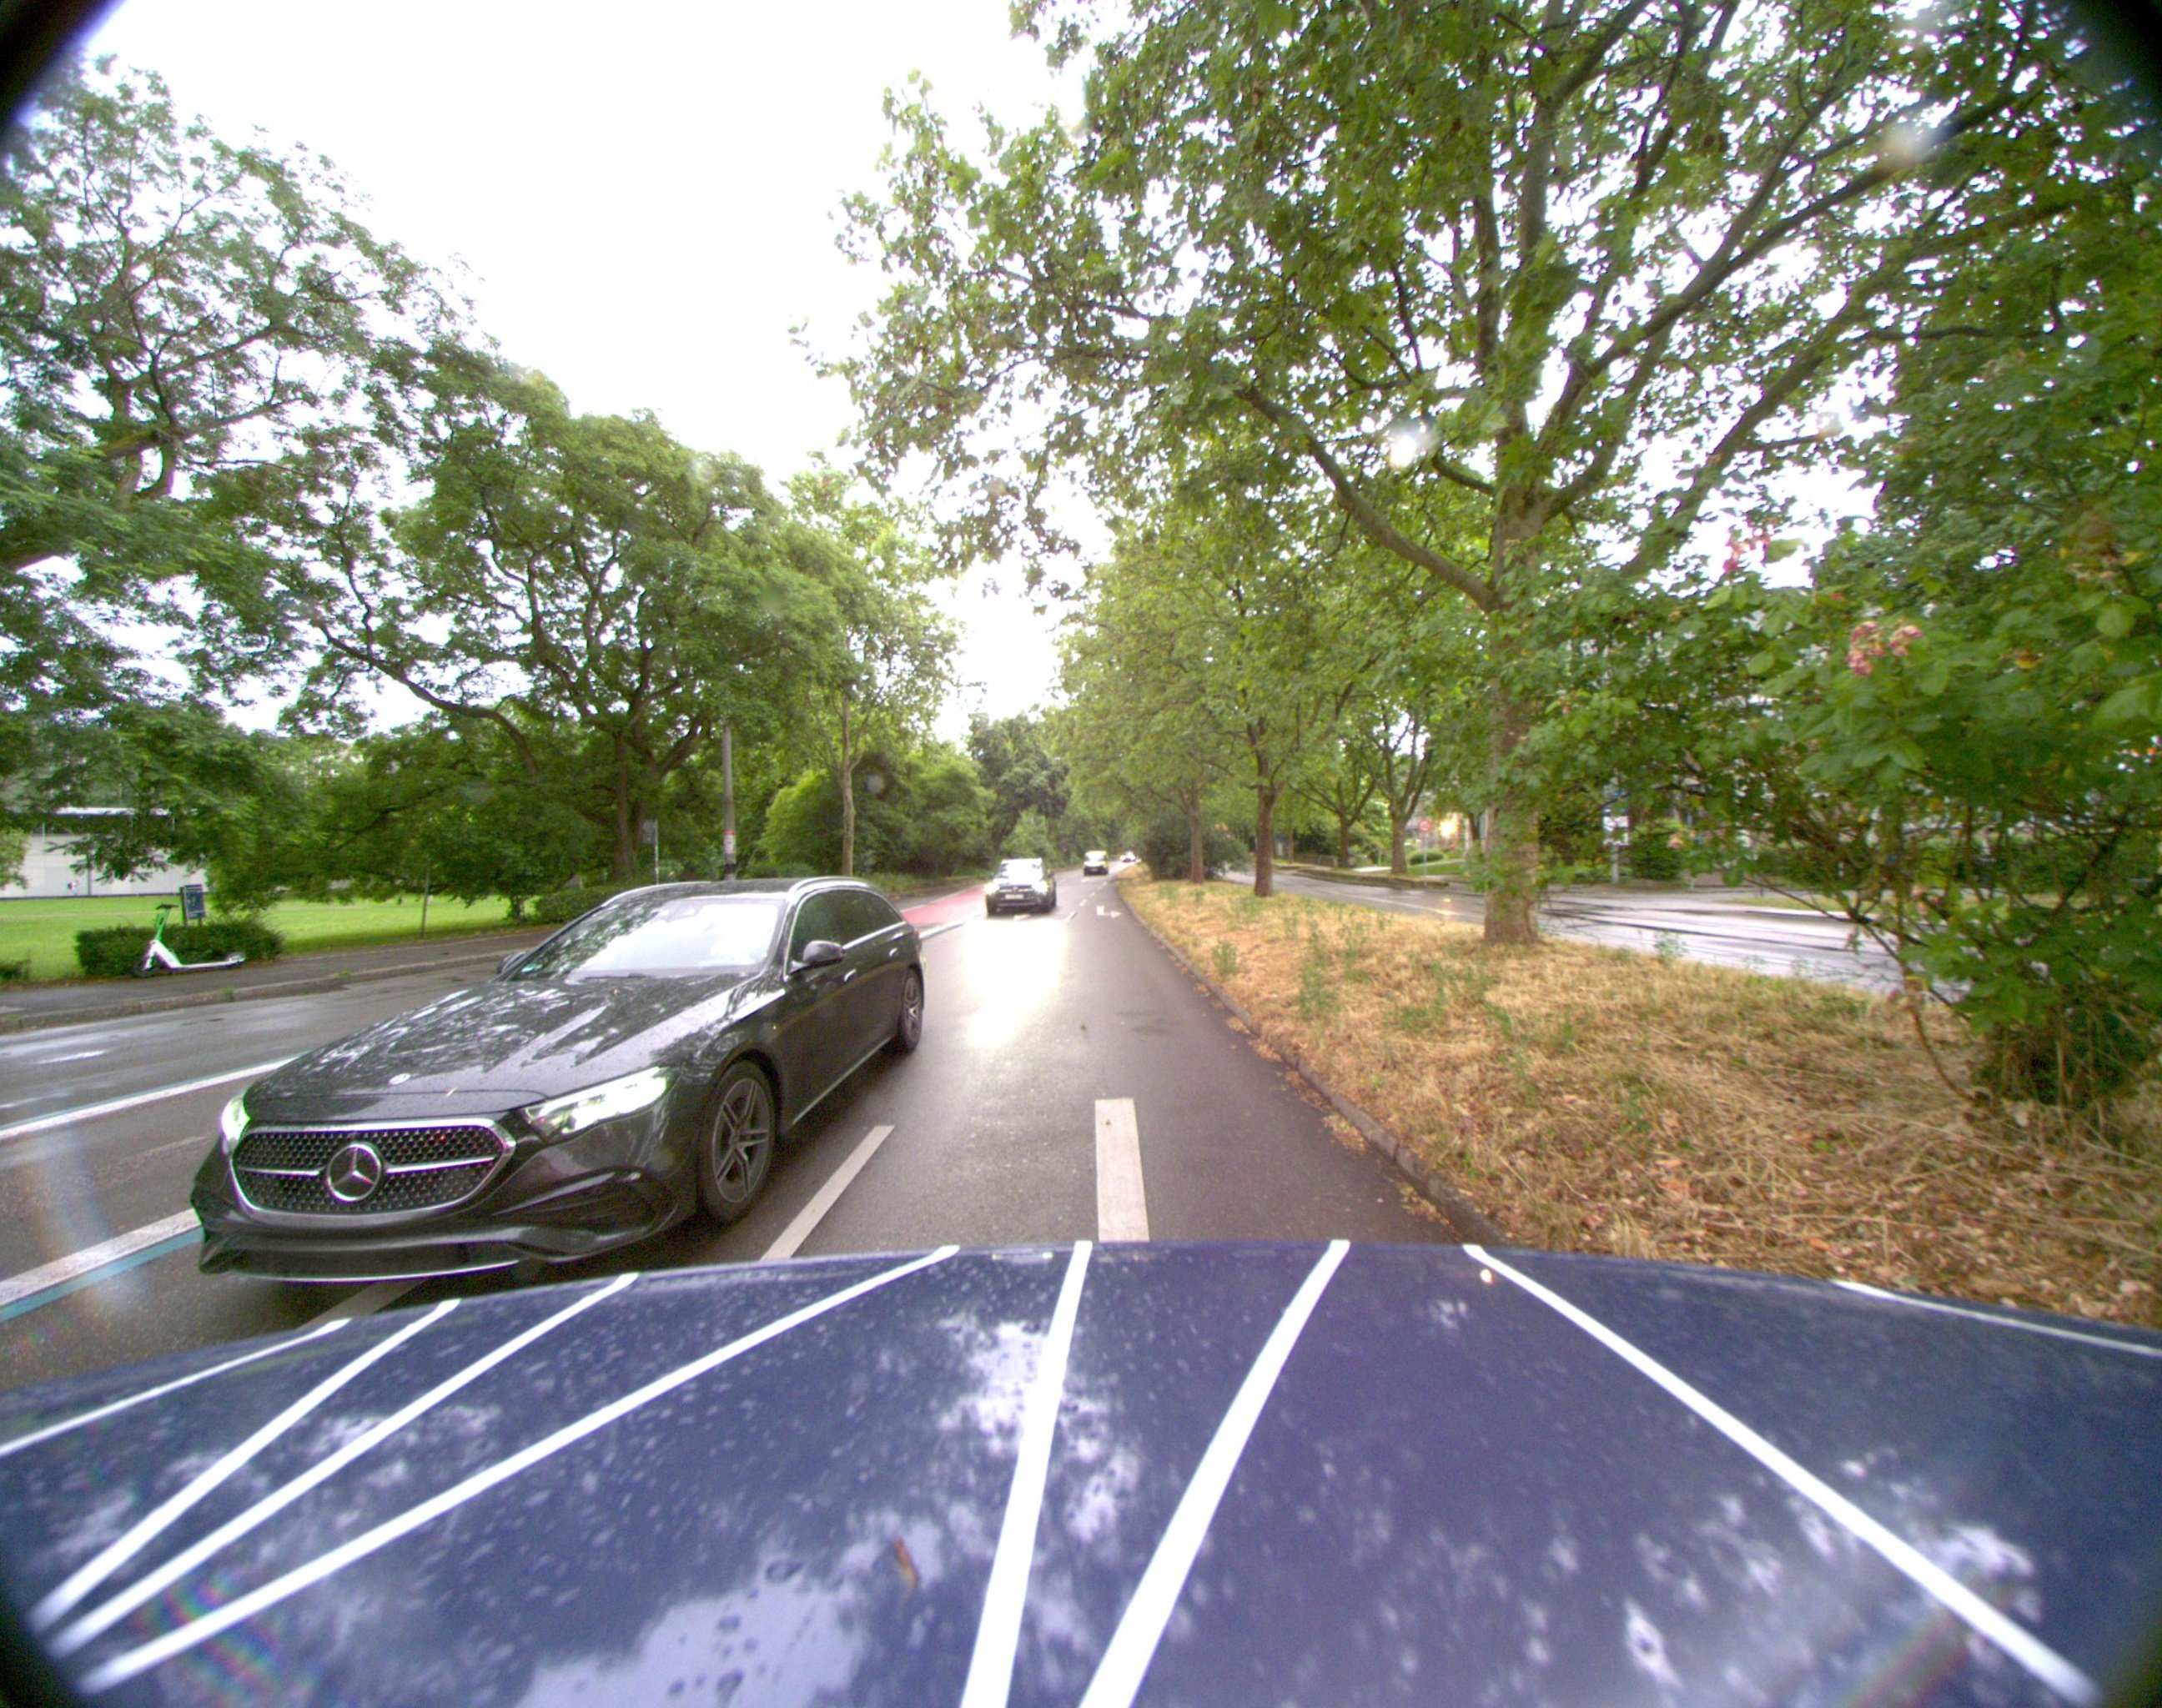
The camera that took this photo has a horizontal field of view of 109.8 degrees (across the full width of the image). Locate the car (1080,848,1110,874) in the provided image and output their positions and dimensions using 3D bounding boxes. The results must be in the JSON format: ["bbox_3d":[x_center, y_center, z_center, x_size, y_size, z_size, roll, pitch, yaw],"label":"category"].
[{"bbox_3d":[1.170,0.494,60.104,1.883,1.865,4.744,-3,0,6],"label":"car"}]

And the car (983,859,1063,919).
[{"bbox_3d":[-1.732,1.028,24.198,1.833,1.598,4.578,-3,0,4],"label":"car"}]

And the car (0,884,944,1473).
[{"bbox_3d":[-2.368,1.042,4.625,1.884,1.437,4.931,-3,0,3],"label":"car"}]

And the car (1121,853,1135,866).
[{"bbox_3d":[6.508,0.737,104.859,1.906,1.766,4.001,-2,0,4],"label":"car"}]

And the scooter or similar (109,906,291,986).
[{"bbox_3d":[-14.553,1.486,12.631,0.557,1.095,1.894,2,0,22],"label":"scooter or similar"}]

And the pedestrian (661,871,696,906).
[{"bbox_3d":[-19.022,1.618,35.882,1.068,1.597,1.060,-1,2,42],"label":"pedestrian"}]
